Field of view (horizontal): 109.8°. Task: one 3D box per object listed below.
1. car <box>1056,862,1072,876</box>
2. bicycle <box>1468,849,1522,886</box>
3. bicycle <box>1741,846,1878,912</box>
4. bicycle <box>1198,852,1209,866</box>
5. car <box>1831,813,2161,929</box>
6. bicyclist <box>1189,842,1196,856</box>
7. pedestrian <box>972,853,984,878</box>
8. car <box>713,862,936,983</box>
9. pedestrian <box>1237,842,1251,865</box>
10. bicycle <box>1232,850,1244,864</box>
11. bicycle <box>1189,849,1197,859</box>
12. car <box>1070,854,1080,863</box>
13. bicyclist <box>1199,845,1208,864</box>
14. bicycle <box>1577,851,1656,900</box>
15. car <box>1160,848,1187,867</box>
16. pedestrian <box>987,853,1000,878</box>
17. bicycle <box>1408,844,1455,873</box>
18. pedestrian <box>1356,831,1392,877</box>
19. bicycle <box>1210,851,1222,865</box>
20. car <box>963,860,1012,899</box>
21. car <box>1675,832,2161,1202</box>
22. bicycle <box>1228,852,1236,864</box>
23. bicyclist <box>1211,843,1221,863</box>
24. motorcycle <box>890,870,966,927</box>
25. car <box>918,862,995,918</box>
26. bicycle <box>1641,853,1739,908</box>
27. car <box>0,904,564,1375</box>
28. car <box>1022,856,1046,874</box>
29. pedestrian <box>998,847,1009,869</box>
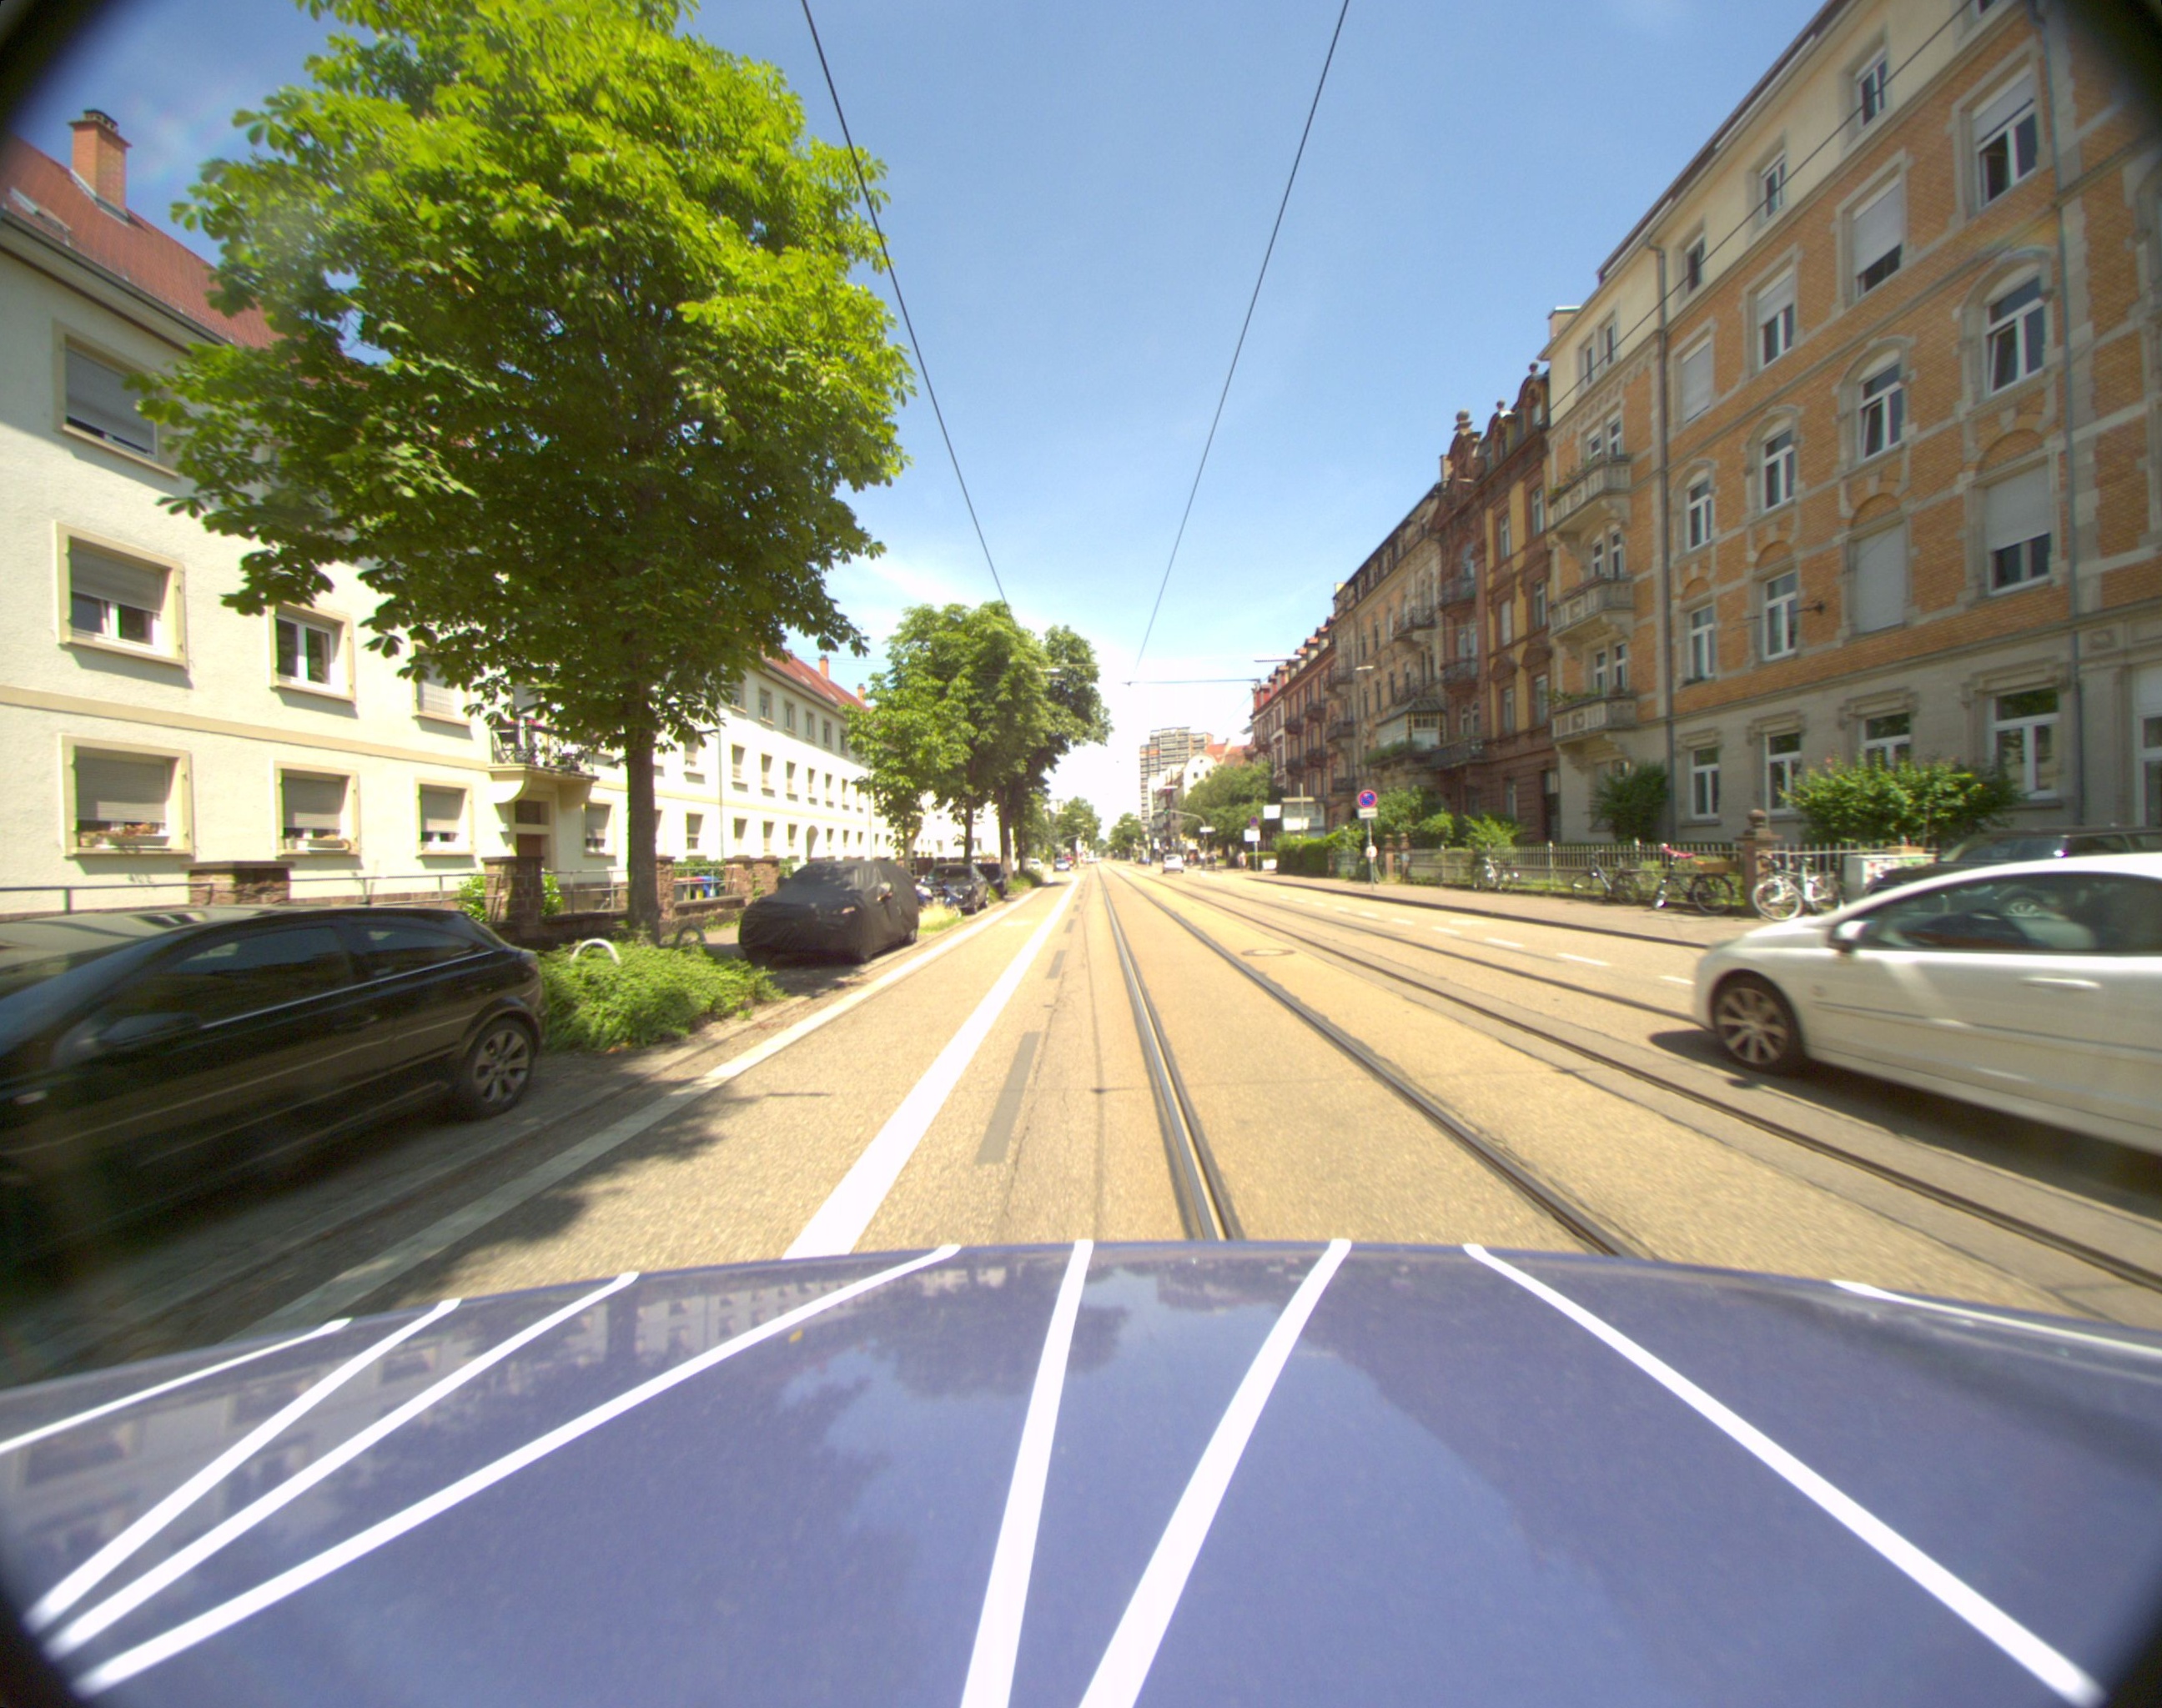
[{"bbox_3d":[-1.958,1.696,88.460,1.737,1.543,4.423,-2,0,-1],"label":"car"},{"bbox_3d":[11.736,0.368,21.600,0.498,0.981,1.710,-6,0,-1],"label":"bicycle"},{"bbox_3d":[12.454,0.423,13.021,1.709,1.031,0.551,-2,1,5],"label":"bicycle"},{"bbox_3d":[9.974,0.393,61.883,0.582,1.072,1.890,-1,0,1],"label":"bicycle"},{"bbox_3d":[13.666,0.199,11.046,3.769,1.420,1.713,-2,1,2],"label":"car"},{"bbox_3d":[12.440,-0.534,84.627,0.564,1.507,0.892,-2,1,2],"label":"bicyclist"},{"bbox_3d":[-6.804,0.744,50.255,0.699,1.660,0.756,1,1,0],"label":"pedestrian"},{"bbox_3d":[-4.204,1.026,13.471,1.951,1.641,4.881,-2,0,4],"label":"car"},{"bbox_3d":[11.936,-0.047,55.705,0.873,1.690,1.014,-2,1,7],"label":"pedestrian"},{"bbox_3d":[13.067,0.225,63.117,0.639,1.087,1.931,-4,0,4],"label":"bicycle"},{"bbox_3d":[12.464,-0.030,84.619,0.569,1.032,1.829,-2,0,2],"label":"bicycle"},{"bbox_3d":[-1.032,0.742,128.340,1.737,1.543,4.423,-2,0,-1],"label":"car"},{"bbox_3d":[9.973,0.019,61.861,0.594,1.535,0.952,-1,1,1],"label":"bicyclist"},{"bbox_3d":[11.557,0.438,16.459,0.440,0.978,1.710,-2,0,-1],"label":"bicycle"},{"bbox_3d":[7.379,0.286,60.890,1.689,1.441,4.000,-2,0,2],"label":"car"},{"bbox_3d":[-5.821,0.758,50.618,0.699,1.660,0.869,1,1,0],"label":"pedestrian"},{"bbox_3d":[13.063,0.160,28.349,1.513,1.037,0.495,-2,1,2],"label":"bicycle"},{"bbox_3d":[11.516,-0.003,29.899,0.853,1.713,1.138,-5,1,2],"label":"pedestrian"},{"bbox_3d":[10.999,0.332,62.014,0.630,1.072,1.875,-1,0,1],"label":"bicycle"},{"bbox_3d":[-3.997,1.056,32.989,1.661,1.506,3.999,-2,0,-2],"label":"car"},{"bbox_3d":[5.076,0.617,3.412,1.760,1.416,4.000,-1,1,2],"label":"car"},{"bbox_3d":[14.069,0.392,70.705,0.460,1.050,1.565,-2,0,4],"label":"bicycle"},{"bbox_3d":[10.994,-0.061,61.965,0.635,1.575,1.028,-1,1,1],"label":"bicyclist"},{"bbox_3d":[-4.124,1.190,20.547,1.919,1.425,0.671,-2,1,-8],"label":"motorcycle"},{"bbox_3d":[-3.862,1.066,24.218,1.737,1.543,4.453,-2,0,-1],"label":"car"},{"bbox_3d":[11.508,0.472,14.419,0.440,0.978,1.710,-2,0,-1],"label":"bicycle"},{"bbox_3d":[-4.543,1.087,3.258,1.699,1.410,4.356,-2,0,-1],"label":"car"},{"bbox_3d":[-4.114,0.959,67.001,1.782,1.402,4.156,2,0,0],"label":"car"},{"bbox_3d":[-5.915,0.304,58.196,0.699,1.660,0.756,-2,1,0],"label":"pedestrian"}]
